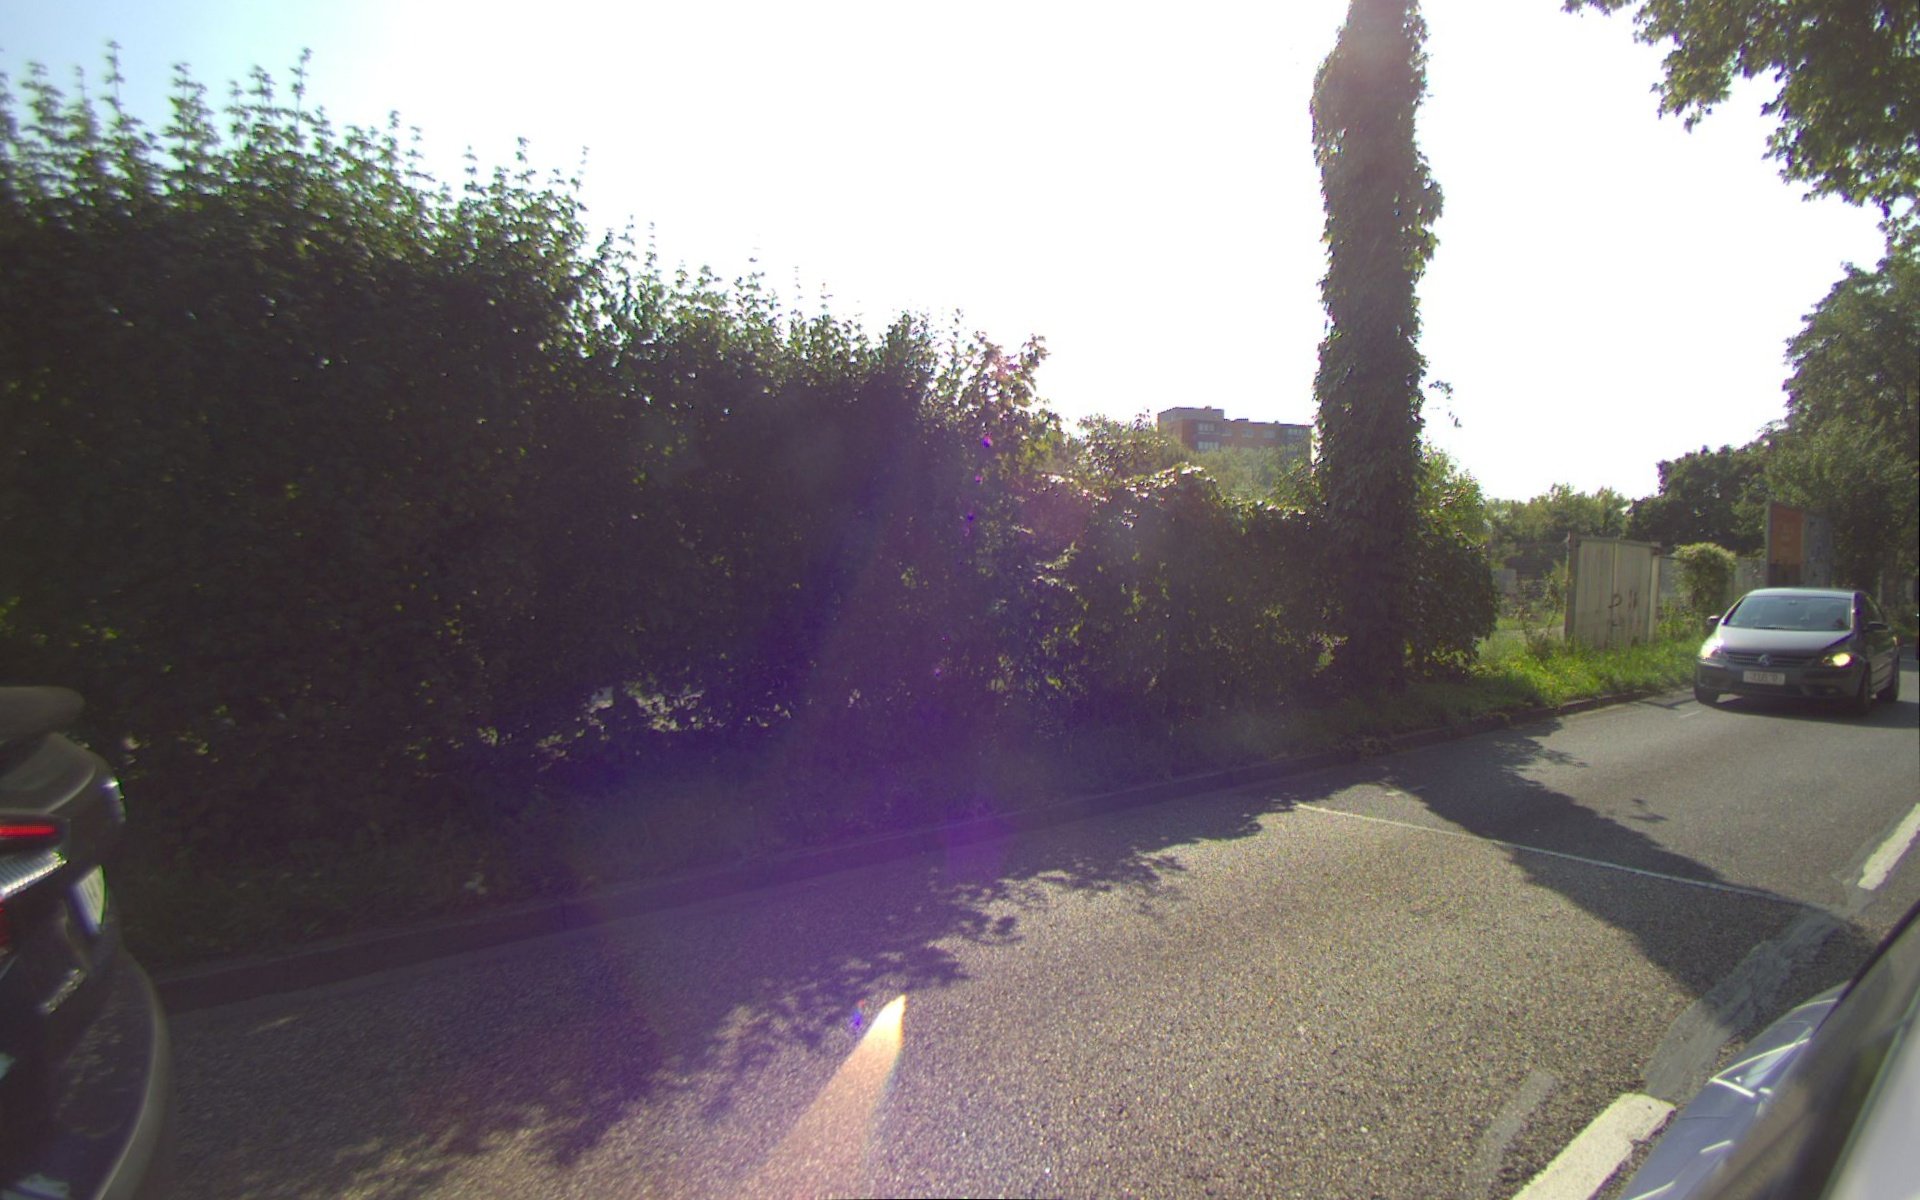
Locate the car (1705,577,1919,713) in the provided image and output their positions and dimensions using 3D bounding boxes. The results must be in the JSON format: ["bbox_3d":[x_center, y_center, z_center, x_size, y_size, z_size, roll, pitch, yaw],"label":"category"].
[{"bbox_3d":[11.644,0.500,13.715,3.830,1.576,1.648,0,2,-40],"label":"car"}]

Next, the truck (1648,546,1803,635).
[{"bbox_3d":[21.735,-0.274,28.596,6.788,2.261,1.919,0,1,-39],"label":"truck"}]

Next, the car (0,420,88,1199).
[{"bbox_3d":[-3.127,0.603,0.387,4.179,1.608,1.649,0,2,-40],"label":"car"}]
